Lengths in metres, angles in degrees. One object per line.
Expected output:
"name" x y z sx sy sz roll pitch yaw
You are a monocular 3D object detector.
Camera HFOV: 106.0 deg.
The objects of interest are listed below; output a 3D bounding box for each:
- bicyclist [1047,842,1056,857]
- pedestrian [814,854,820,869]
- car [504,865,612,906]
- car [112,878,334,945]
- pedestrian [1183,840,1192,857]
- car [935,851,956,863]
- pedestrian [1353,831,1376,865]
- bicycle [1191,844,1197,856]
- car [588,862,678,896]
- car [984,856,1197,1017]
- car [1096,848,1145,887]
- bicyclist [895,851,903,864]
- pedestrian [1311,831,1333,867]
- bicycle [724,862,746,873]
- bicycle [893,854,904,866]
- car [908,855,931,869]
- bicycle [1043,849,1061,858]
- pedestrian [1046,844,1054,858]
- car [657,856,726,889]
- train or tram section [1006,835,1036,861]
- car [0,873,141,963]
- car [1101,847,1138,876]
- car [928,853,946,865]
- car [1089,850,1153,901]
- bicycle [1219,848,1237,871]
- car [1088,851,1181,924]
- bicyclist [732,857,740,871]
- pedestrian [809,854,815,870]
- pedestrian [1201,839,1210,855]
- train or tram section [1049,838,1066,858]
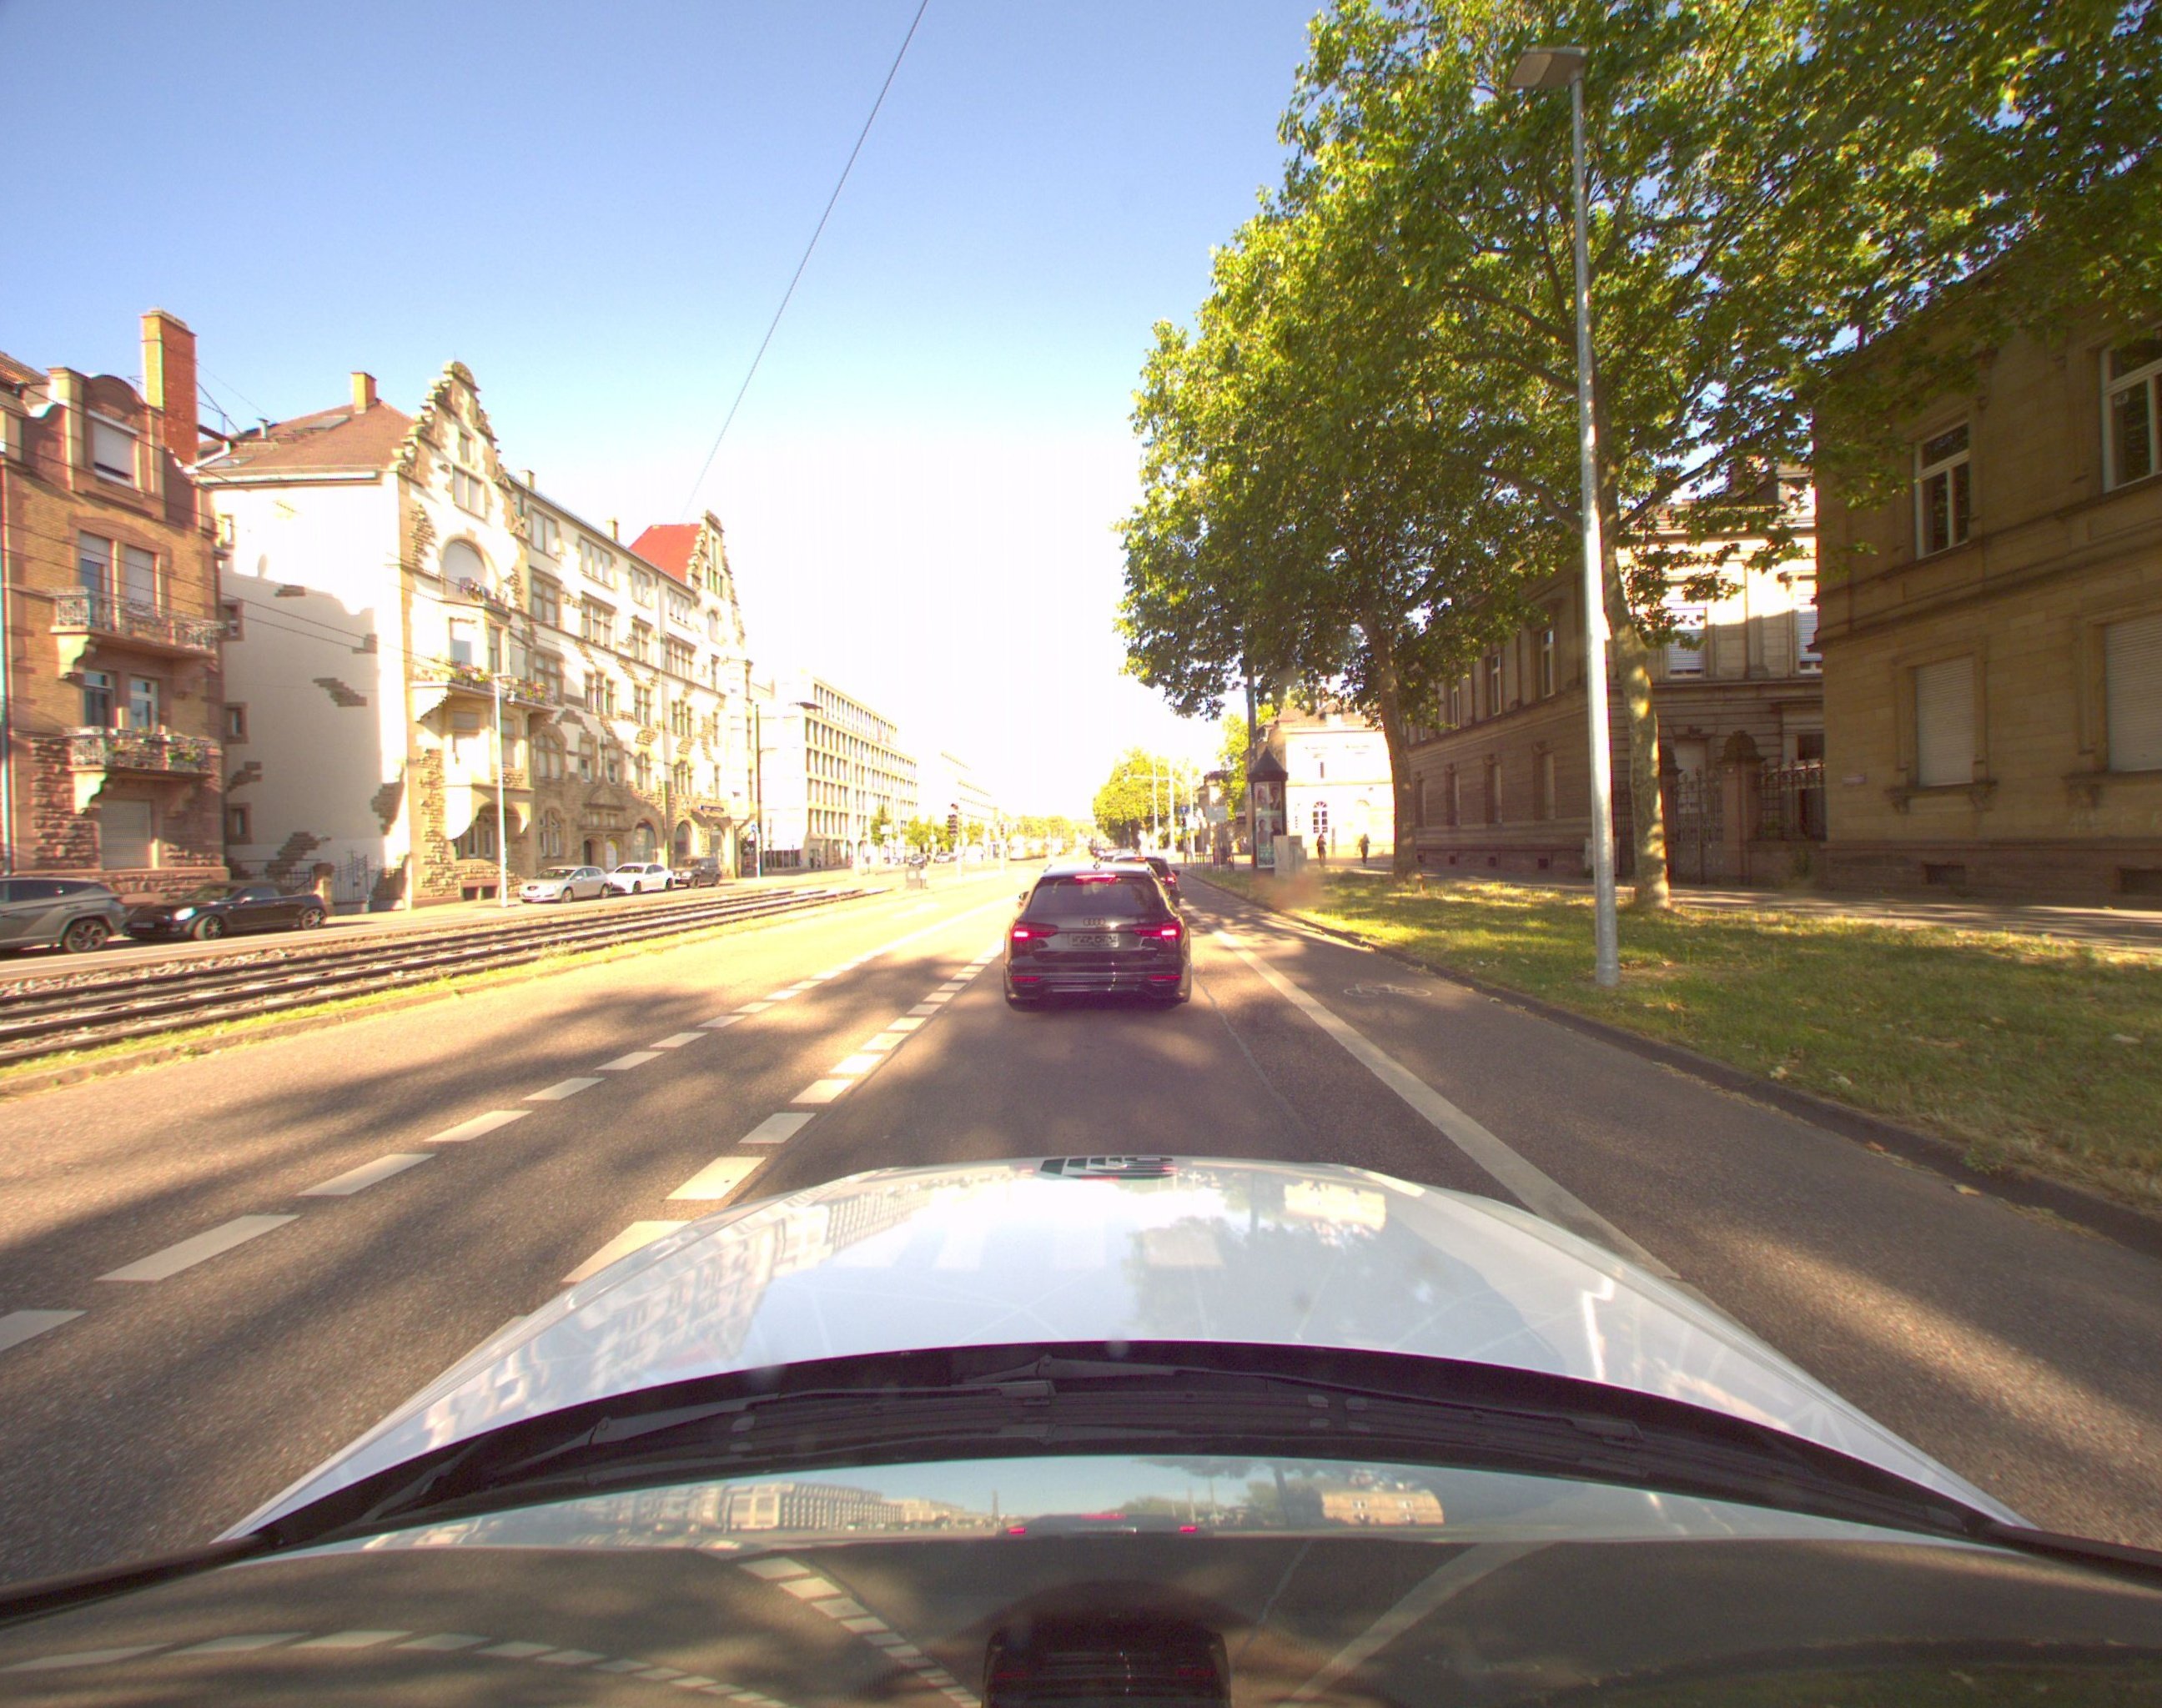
"bicyclist" -3.597 -0.572 99.890 0.761 1.818 0.758 -2 0 -26
"pedestrian" -31.062 0.890 95.842 0.535 1.843 0.438 -2 0 -36
"car" -21.190 1.241 33.217 1.704 1.430 4.222 0 1 0
"car" -21.511 1.385 20.660 1.616 1.354 3.727 1 1 1
"pedestrian" 10.644 -0.583 81.295 0.679 1.660 0.758 -2 0 0
"car" -18.443 0.412 111.269 1.812 1.457 4.545 -2 0 4
"pedestrian" 13.728 -0.274 39.449 0.766 1.606 0.987 -2 0 3
"bicycle" 11.270 -0.382 81.222 0.433 1.145 1.340 -2 0 0
"car" -21.255 1.159 38.882 1.711 1.423 4.656 0 1 0
"car" 0.173 0.748 9.380 1.895 1.421 4.147 -1 0 2
"car" 1.646 0.540 33.906 1.895 1.486 4.147 -1 0 2
"bicyclist" -22.268 0.437 99.496 0.682 1.562 0.786 -2 0 3
"pedestrian" 11.754 -0.242 39.740 0.766 1.709 1.043 -2 0 3
"bicycle" -40.895 1.584 96.268 2.372 1.215 0.577 -2 0 1
"bicycle" -22.324 0.761 99.511 0.682 1.381 1.949 -2 0 3
"car" -18.415 0.889 92.969 1.814 1.457 4.165 -2 0 0
"bicycle" -3.584 -0.057 99.883 2.016 1.108 0.758 -2 0 -27
"pedestrian" -3.837 -0.380 101.387 0.743 1.741 0.659 -2 0 -22
"car" -21.061 0.968 44.216 1.711 1.675 4.217 0 1 0
"train or tram section" -8.647 -0.915 118.976 2.802 3.489 13.211 -2 0 2
"car" -21.784 1.279 15.779 1.849 1.622 4.504 1 1 1
"car" 2.089 0.398 44.380 1.895 1.486 4.147 -1 0 2
"car" -22.395 0.760 126.959 1.835 1.812 4.114 -2 0 1
"car" 1.277 0.643 26.235 1.895 1.486 4.147 -1 0 2
"bicycle" 7.288 0.263 40.410 0.538 1.061 1.770 -2 0 -1
"car" 1.206 0.705 18.930 1.895 1.486 4.147 -1 0 2
"bicyclist" -40.732 1.183 96.267 0.639 1.686 0.577 -2 0 1
"pedestrian" -31.631 0.914 95.640 0.475 1.843 0.438 -2 0 -36
"pedestrian" 15.145 -0.830 99.303 0.975 1.865 0.827 -2 0 1
"train or tram section" -4.360 -1.186 152.749 2.600 3.450 11.132 -2 1 0
